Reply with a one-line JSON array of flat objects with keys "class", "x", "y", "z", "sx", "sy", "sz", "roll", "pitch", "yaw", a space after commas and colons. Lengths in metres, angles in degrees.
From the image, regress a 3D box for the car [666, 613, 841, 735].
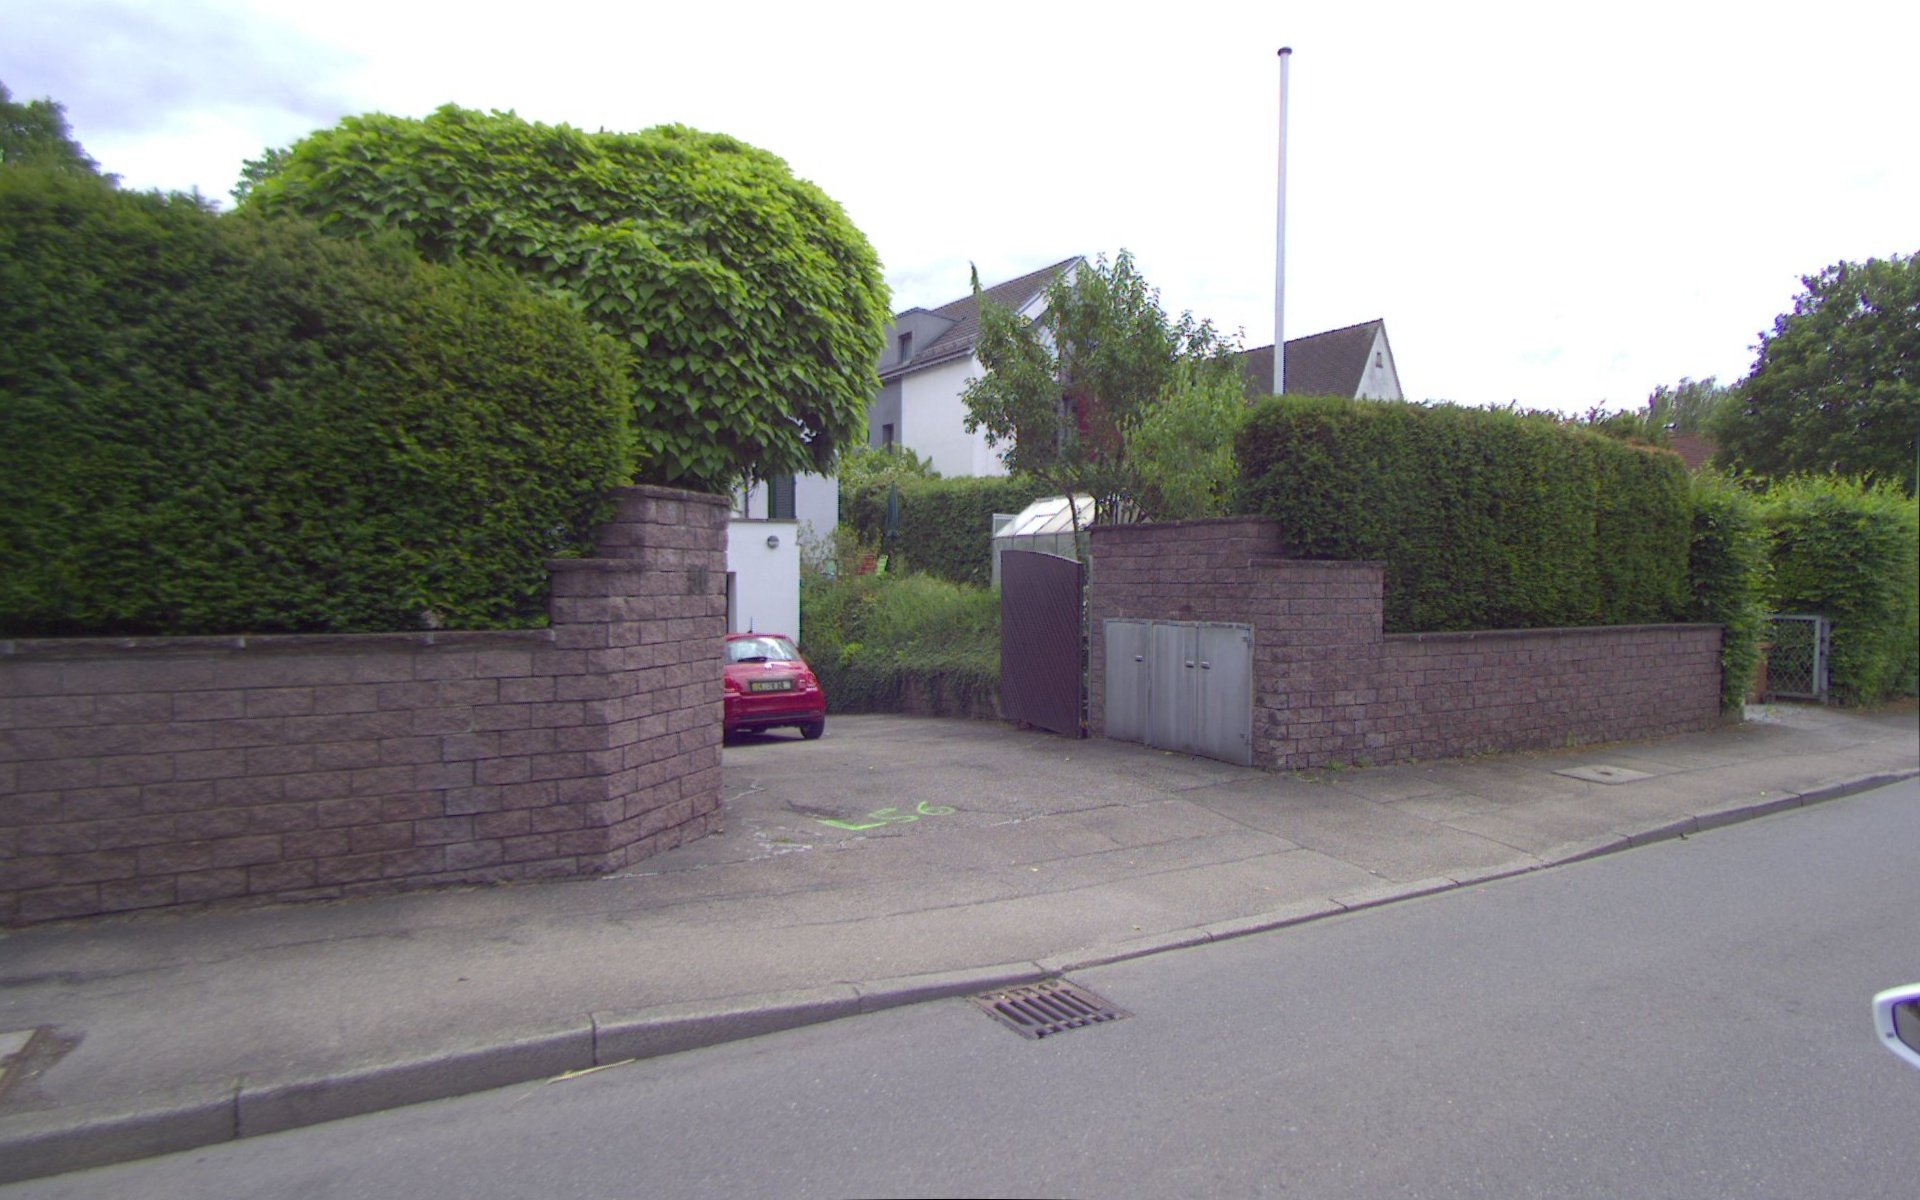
[{"class": "car", "x": -3.011, "y": 1.032, "z": 14.273, "sx": 1.592, "sy": 1.510, "sz": 2.840, "roll": -1, "pitch": -3, "yaw": -30}]
